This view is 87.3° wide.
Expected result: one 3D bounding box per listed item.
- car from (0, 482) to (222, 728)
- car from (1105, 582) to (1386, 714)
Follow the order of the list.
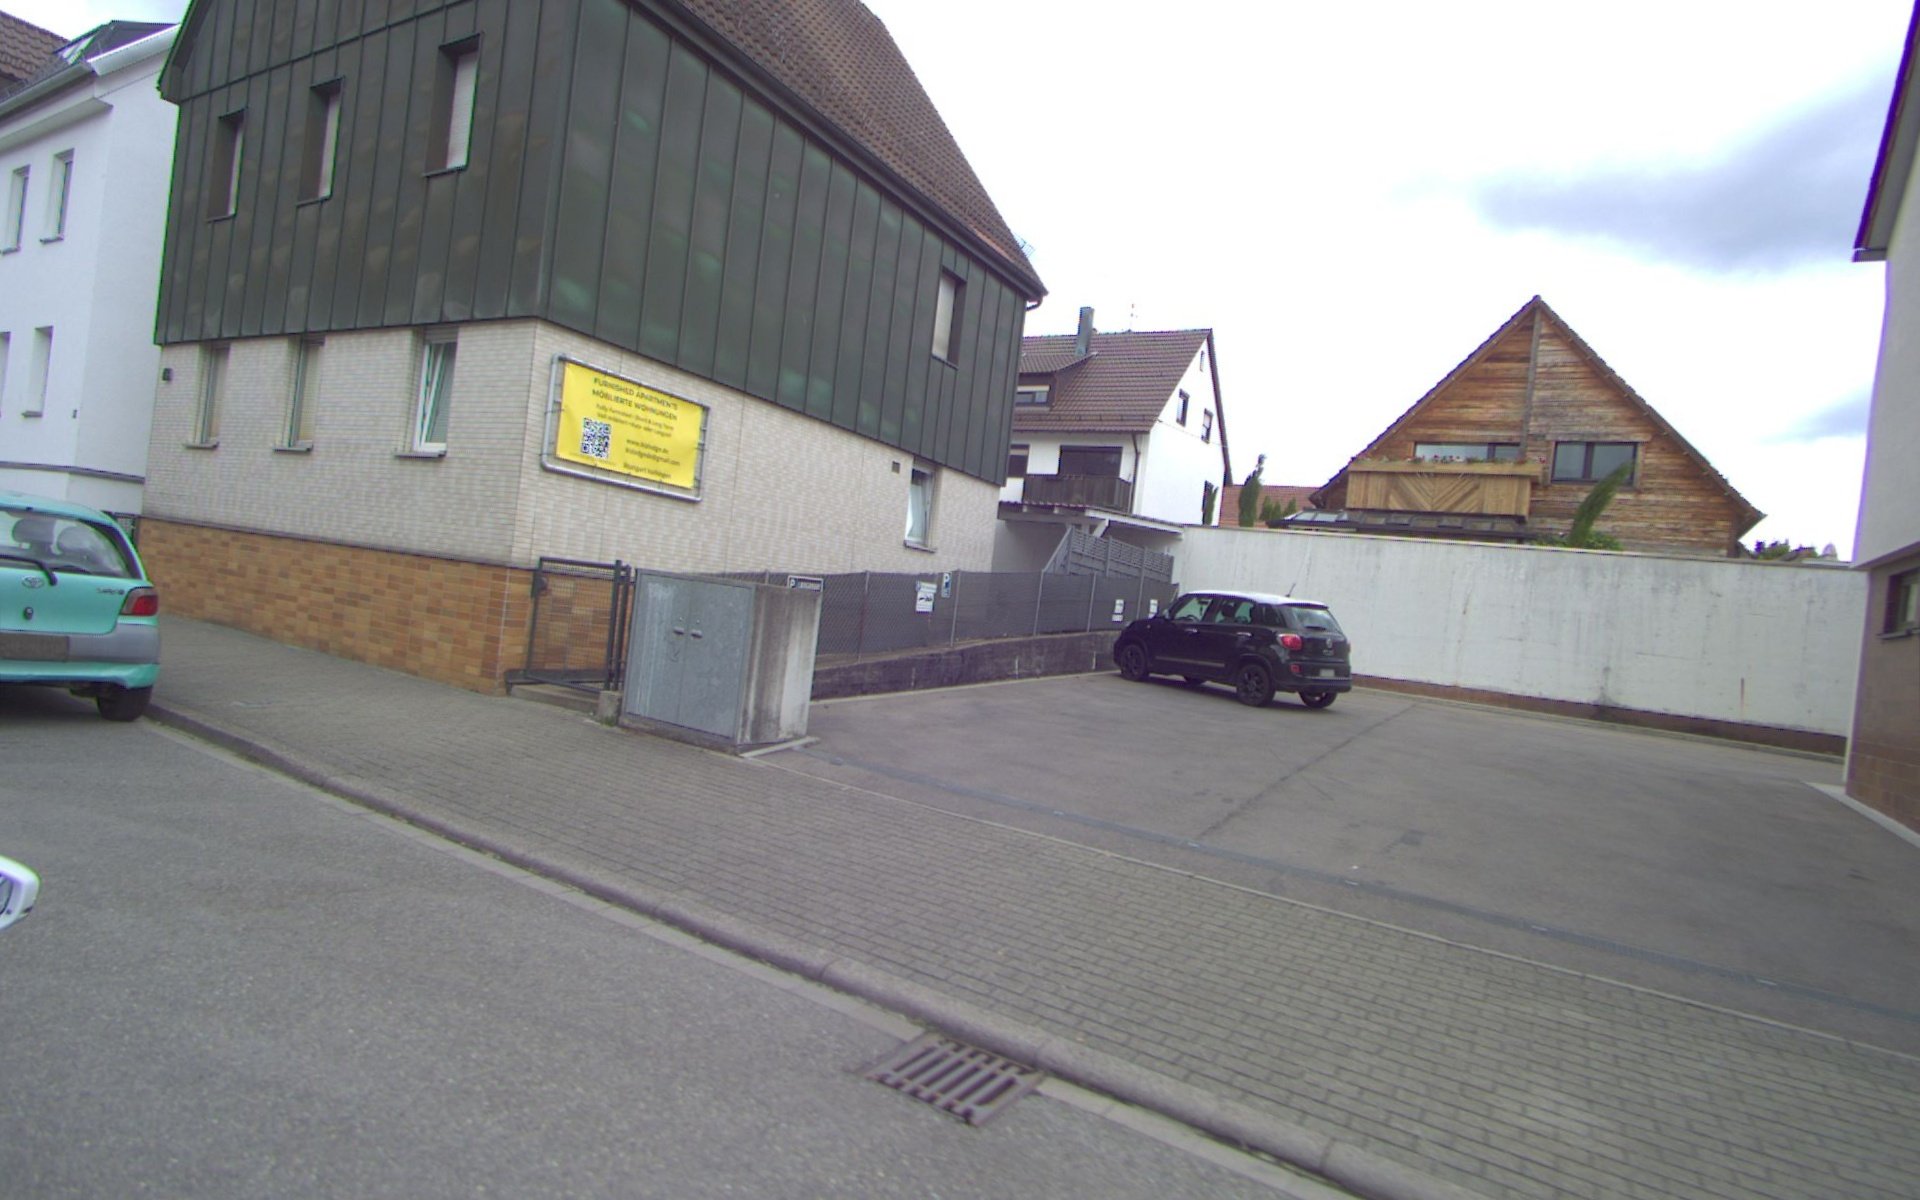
[{"bbox_3d":[-7.468,-0.137,7.426,3.927,1.515,1.834,7,-2,32],"label":"car"},{"bbox_3d":[4.462,0.706,16.278,1.907,1.676,3.963,4,1,-34],"label":"car"}]
